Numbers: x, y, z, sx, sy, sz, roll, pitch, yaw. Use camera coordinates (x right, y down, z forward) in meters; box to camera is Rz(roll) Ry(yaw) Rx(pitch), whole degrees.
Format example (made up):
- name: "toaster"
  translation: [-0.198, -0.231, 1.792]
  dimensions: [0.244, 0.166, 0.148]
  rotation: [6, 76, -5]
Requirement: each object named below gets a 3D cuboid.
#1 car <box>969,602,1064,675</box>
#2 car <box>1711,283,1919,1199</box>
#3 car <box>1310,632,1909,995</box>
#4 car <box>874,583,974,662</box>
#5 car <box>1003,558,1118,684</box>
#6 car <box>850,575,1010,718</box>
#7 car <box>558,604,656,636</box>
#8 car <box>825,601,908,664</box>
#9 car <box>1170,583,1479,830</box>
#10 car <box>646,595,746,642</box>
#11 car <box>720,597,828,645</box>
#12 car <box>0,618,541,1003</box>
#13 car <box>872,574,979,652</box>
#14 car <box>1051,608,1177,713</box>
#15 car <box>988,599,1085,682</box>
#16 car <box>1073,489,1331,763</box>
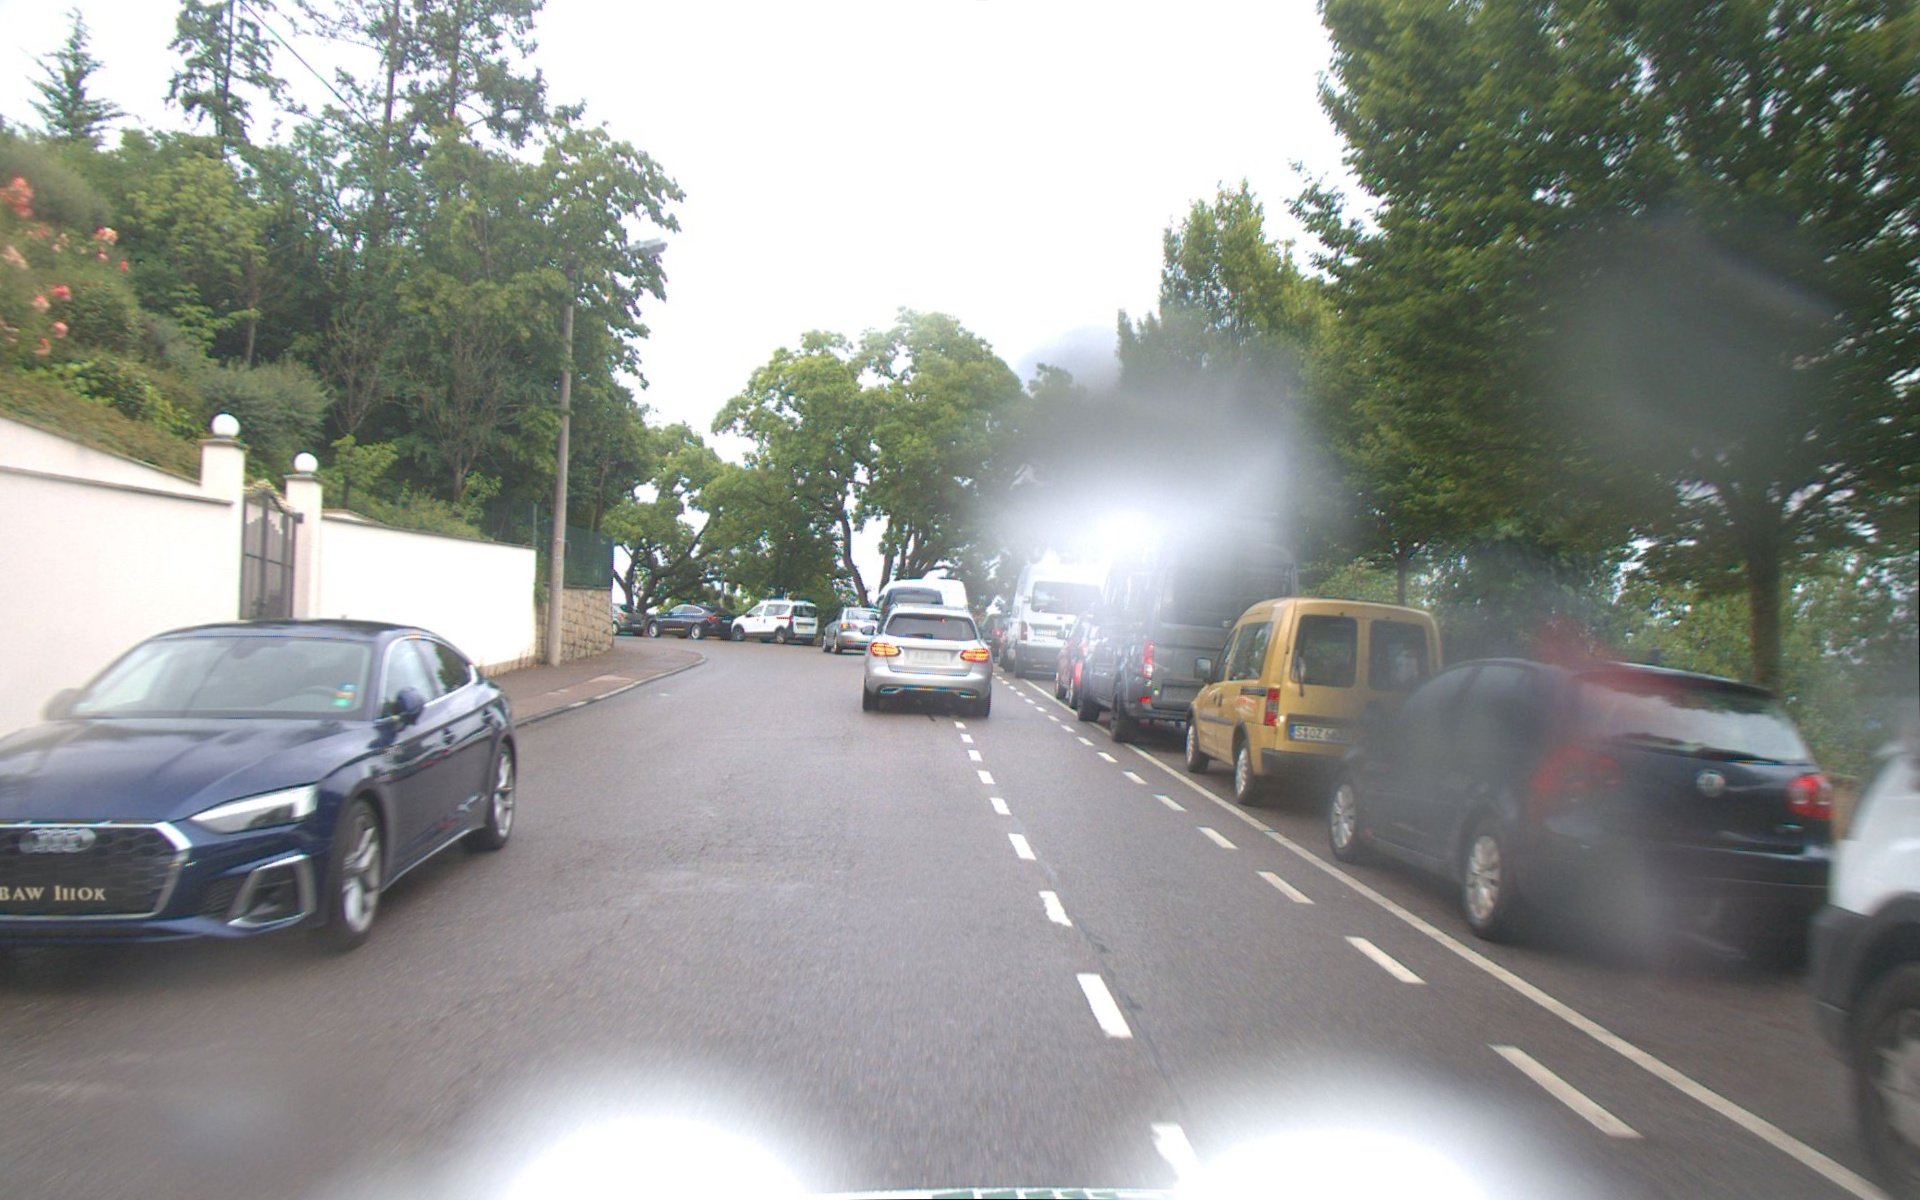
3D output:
- name: "car"
  translation: [1.690, 1.149, 51.166]
  dimensions: [2.026, 1.994, 4.487]
  rotation: [4, 0, -9]
- name: "car"
  translation: [3.745, 0.437, 2.597]
  dimensions: [2.130, 2.536, 6.032]
  rotation: [4, -1, -1]
- name: "car"
  translation: [3.480, 1.038, 9.806]
  dimensions: [1.639, 1.483, 4.221]
  rotation: [5, -1, -2]
- name: "car"
  translation: [-0.941, 0.562, 40.462]
  dimensions: [1.956, 1.738, 3.993]
  rotation: [4, -2, -7]
- name: "car"
  translation: [2.202, 0.453, 37.511]
  dimensions: [2.023, 2.537, 4.758]
  rotation: [4, 0, -2]
- name: "car"
  translation: [-0.472, 0.614, 23.574]
  dimensions: [1.985, 1.738, 4.213]
  rotation: [3, 0, -2]
- name: "car"
  translation: [-16.494, 0.916, 77.315]
  dimensions: [4.403, 1.426, 1.965]
  rotation: [1, 0, 34]
- name: "car"
  translation: [-2.905, 0.985, 50.720]
  dimensions: [1.958, 1.738, 3.989]
  rotation: [4, -2, -11]
- name: "car"
  translation: [3.209, 0.867, 15.446]
  dimensions: [1.693, 1.816, 4.274]
  rotation: [6, 0, -1]
- name: "car"
  translation: [-11.831, 0.825, 73.952]
  dimensions: [4.590, 1.727, 1.958]
  rotation: [4, 0, 43]
- name: "car"
  translation: [-7.914, 0.885, 70.299]
  dimensions: [4.412, 1.727, 1.961]
  rotation: [4, 0, 39]
- name: "car"
  translation: [-3.447, 0.809, 8.360]
  dimensions: [1.713, 1.381, 4.422]
  rotation: [0, 0, -3]
- name: "car"
  translation: [-1.299, 0.449, 60.535]
  dimensions: [2.100, 2.570, 4.459]
  rotation: [4, 0, -26]
- name: "car"
  translation: [2.545, 0.971, 28.024]
  dimensions: [1.551, 1.554, 3.584]
  rotation: [4, 0, -3]
- name: "car"
  translation: [1.995, 1.039, 44.470]
  dimensions: [2.024, 1.994, 4.493]
  rotation: [4, 0, -4]
- name: "car"
  translation: [2.932, 0.302, 21.559]
  dimensions: [2.082, 2.937, 5.766]
  rotation: [4, 0, -3]
